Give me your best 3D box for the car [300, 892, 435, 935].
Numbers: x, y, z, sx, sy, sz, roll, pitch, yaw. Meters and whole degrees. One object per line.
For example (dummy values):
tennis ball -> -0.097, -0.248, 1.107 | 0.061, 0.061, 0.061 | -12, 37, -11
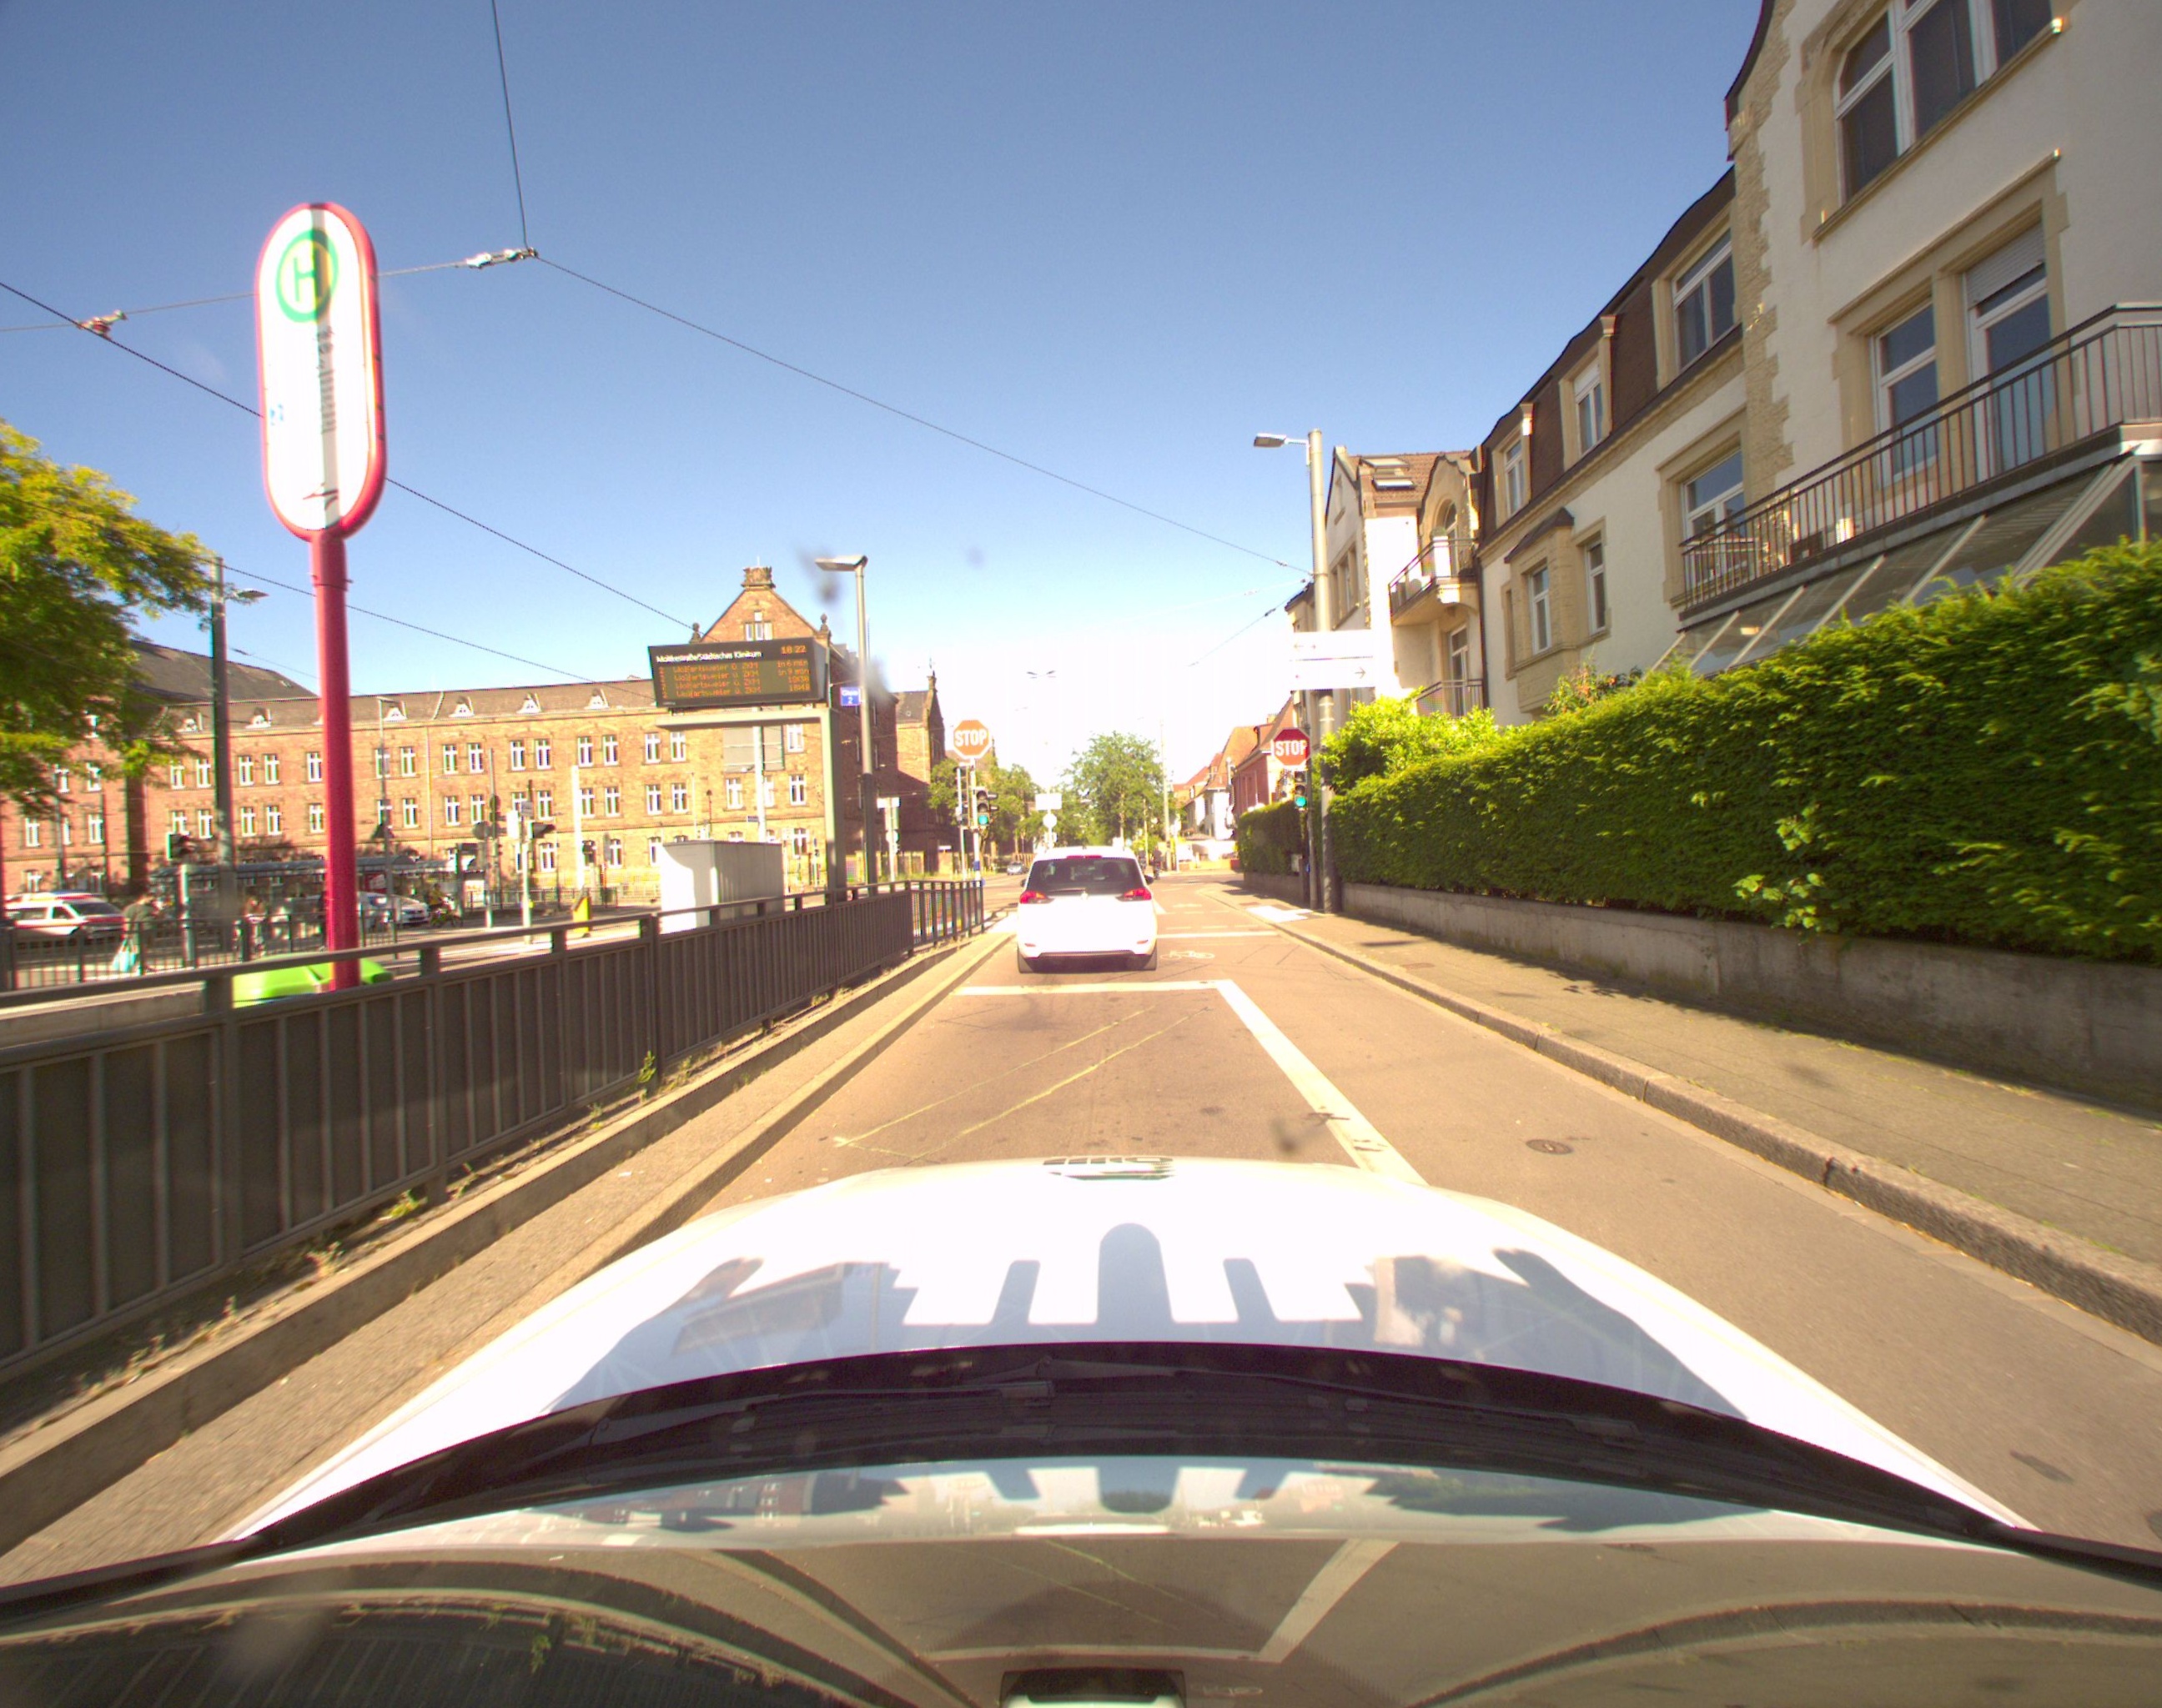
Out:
car -> -29.863, 2.475, 34.147 | 4.046, 1.522, 1.879 | -2, -1, 4

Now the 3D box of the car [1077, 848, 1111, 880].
car -> 0.772, 0.557, 45.459 | 1.769, 1.632, 3.882 | -2, -1, 2

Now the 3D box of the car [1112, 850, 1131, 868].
car -> 4.080, 0.490, 81.407 | 1.767, 1.632, 3.885 | -2, -1, 5

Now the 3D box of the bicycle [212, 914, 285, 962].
bicycle -> -20.969, 2.085, 20.547 | 0.694, 1.049, 1.656 | -2, -1, -24

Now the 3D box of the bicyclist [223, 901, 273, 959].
bicyclist -> -20.953, 1.892, 20.496 | 0.692, 1.383, 0.530 | -2, -1, -24

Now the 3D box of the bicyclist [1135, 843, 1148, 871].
bicyclist -> 3.661, 0.189, 49.223 | 0.682, 1.634, 1.017 | -2, -1, 4

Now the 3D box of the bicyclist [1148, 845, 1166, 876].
bicyclist -> 3.835, 0.328, 41.086 | 0.818, 1.501, 0.934 | -2, -1, 1

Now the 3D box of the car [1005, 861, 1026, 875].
car -> -7.119, 1.496, 88.758 | 1.574, 1.441, 3.588 | -2, -1, 4

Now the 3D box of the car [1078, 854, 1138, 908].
car -> 0.891, 0.749, 24.544 | 1.579, 1.420, 3.904 | -3, 0, 4

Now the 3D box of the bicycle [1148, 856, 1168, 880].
bicycle -> 3.846, 0.685, 41.040 | 0.826, 1.154, 2.095 | -2, -1, 2

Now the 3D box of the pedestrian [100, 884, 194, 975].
pedestrian -> -20.305, 1.613, 17.729 | 0.723, 1.861, 1.098 | -2, -1, 4

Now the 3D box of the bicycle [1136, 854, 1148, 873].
bicycle -> 3.679, 0.572, 49.211 | 0.682, 1.157, 1.621 | -2, -1, 5

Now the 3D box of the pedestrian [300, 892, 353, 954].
pedestrian -> -20.144, 1.829, 21.762 | 0.568, 1.569, 0.836 | -2, 0, 23

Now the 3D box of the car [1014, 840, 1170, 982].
car -> 0.233, 0.699, 11.783 | 1.827, 1.642, 3.921 | -2, -1, 3

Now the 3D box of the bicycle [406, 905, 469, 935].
bicycle -> -24.608, 2.508, 31.154 | 1.728, 1.013, 0.802 | -2, -1, 2

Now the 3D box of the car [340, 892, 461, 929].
car -> -31.158, 2.579, 37.352 | 4.046, 1.447, 1.879 | -2, -1, 4

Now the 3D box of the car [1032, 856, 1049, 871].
car -> -5.236, 1.261, 106.194 | 1.885, 1.783, 3.881 | -2, -1, 1

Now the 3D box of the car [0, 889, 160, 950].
car -> -45.695, 2.958, 37.016 | 5.011, 2.453, 2.261 | -2, -1, 1

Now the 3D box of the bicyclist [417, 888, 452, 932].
bicyclist -> -24.734, 2.136, 31.167 | 0.631, 1.636, 0.802 | -2, -1, 2
